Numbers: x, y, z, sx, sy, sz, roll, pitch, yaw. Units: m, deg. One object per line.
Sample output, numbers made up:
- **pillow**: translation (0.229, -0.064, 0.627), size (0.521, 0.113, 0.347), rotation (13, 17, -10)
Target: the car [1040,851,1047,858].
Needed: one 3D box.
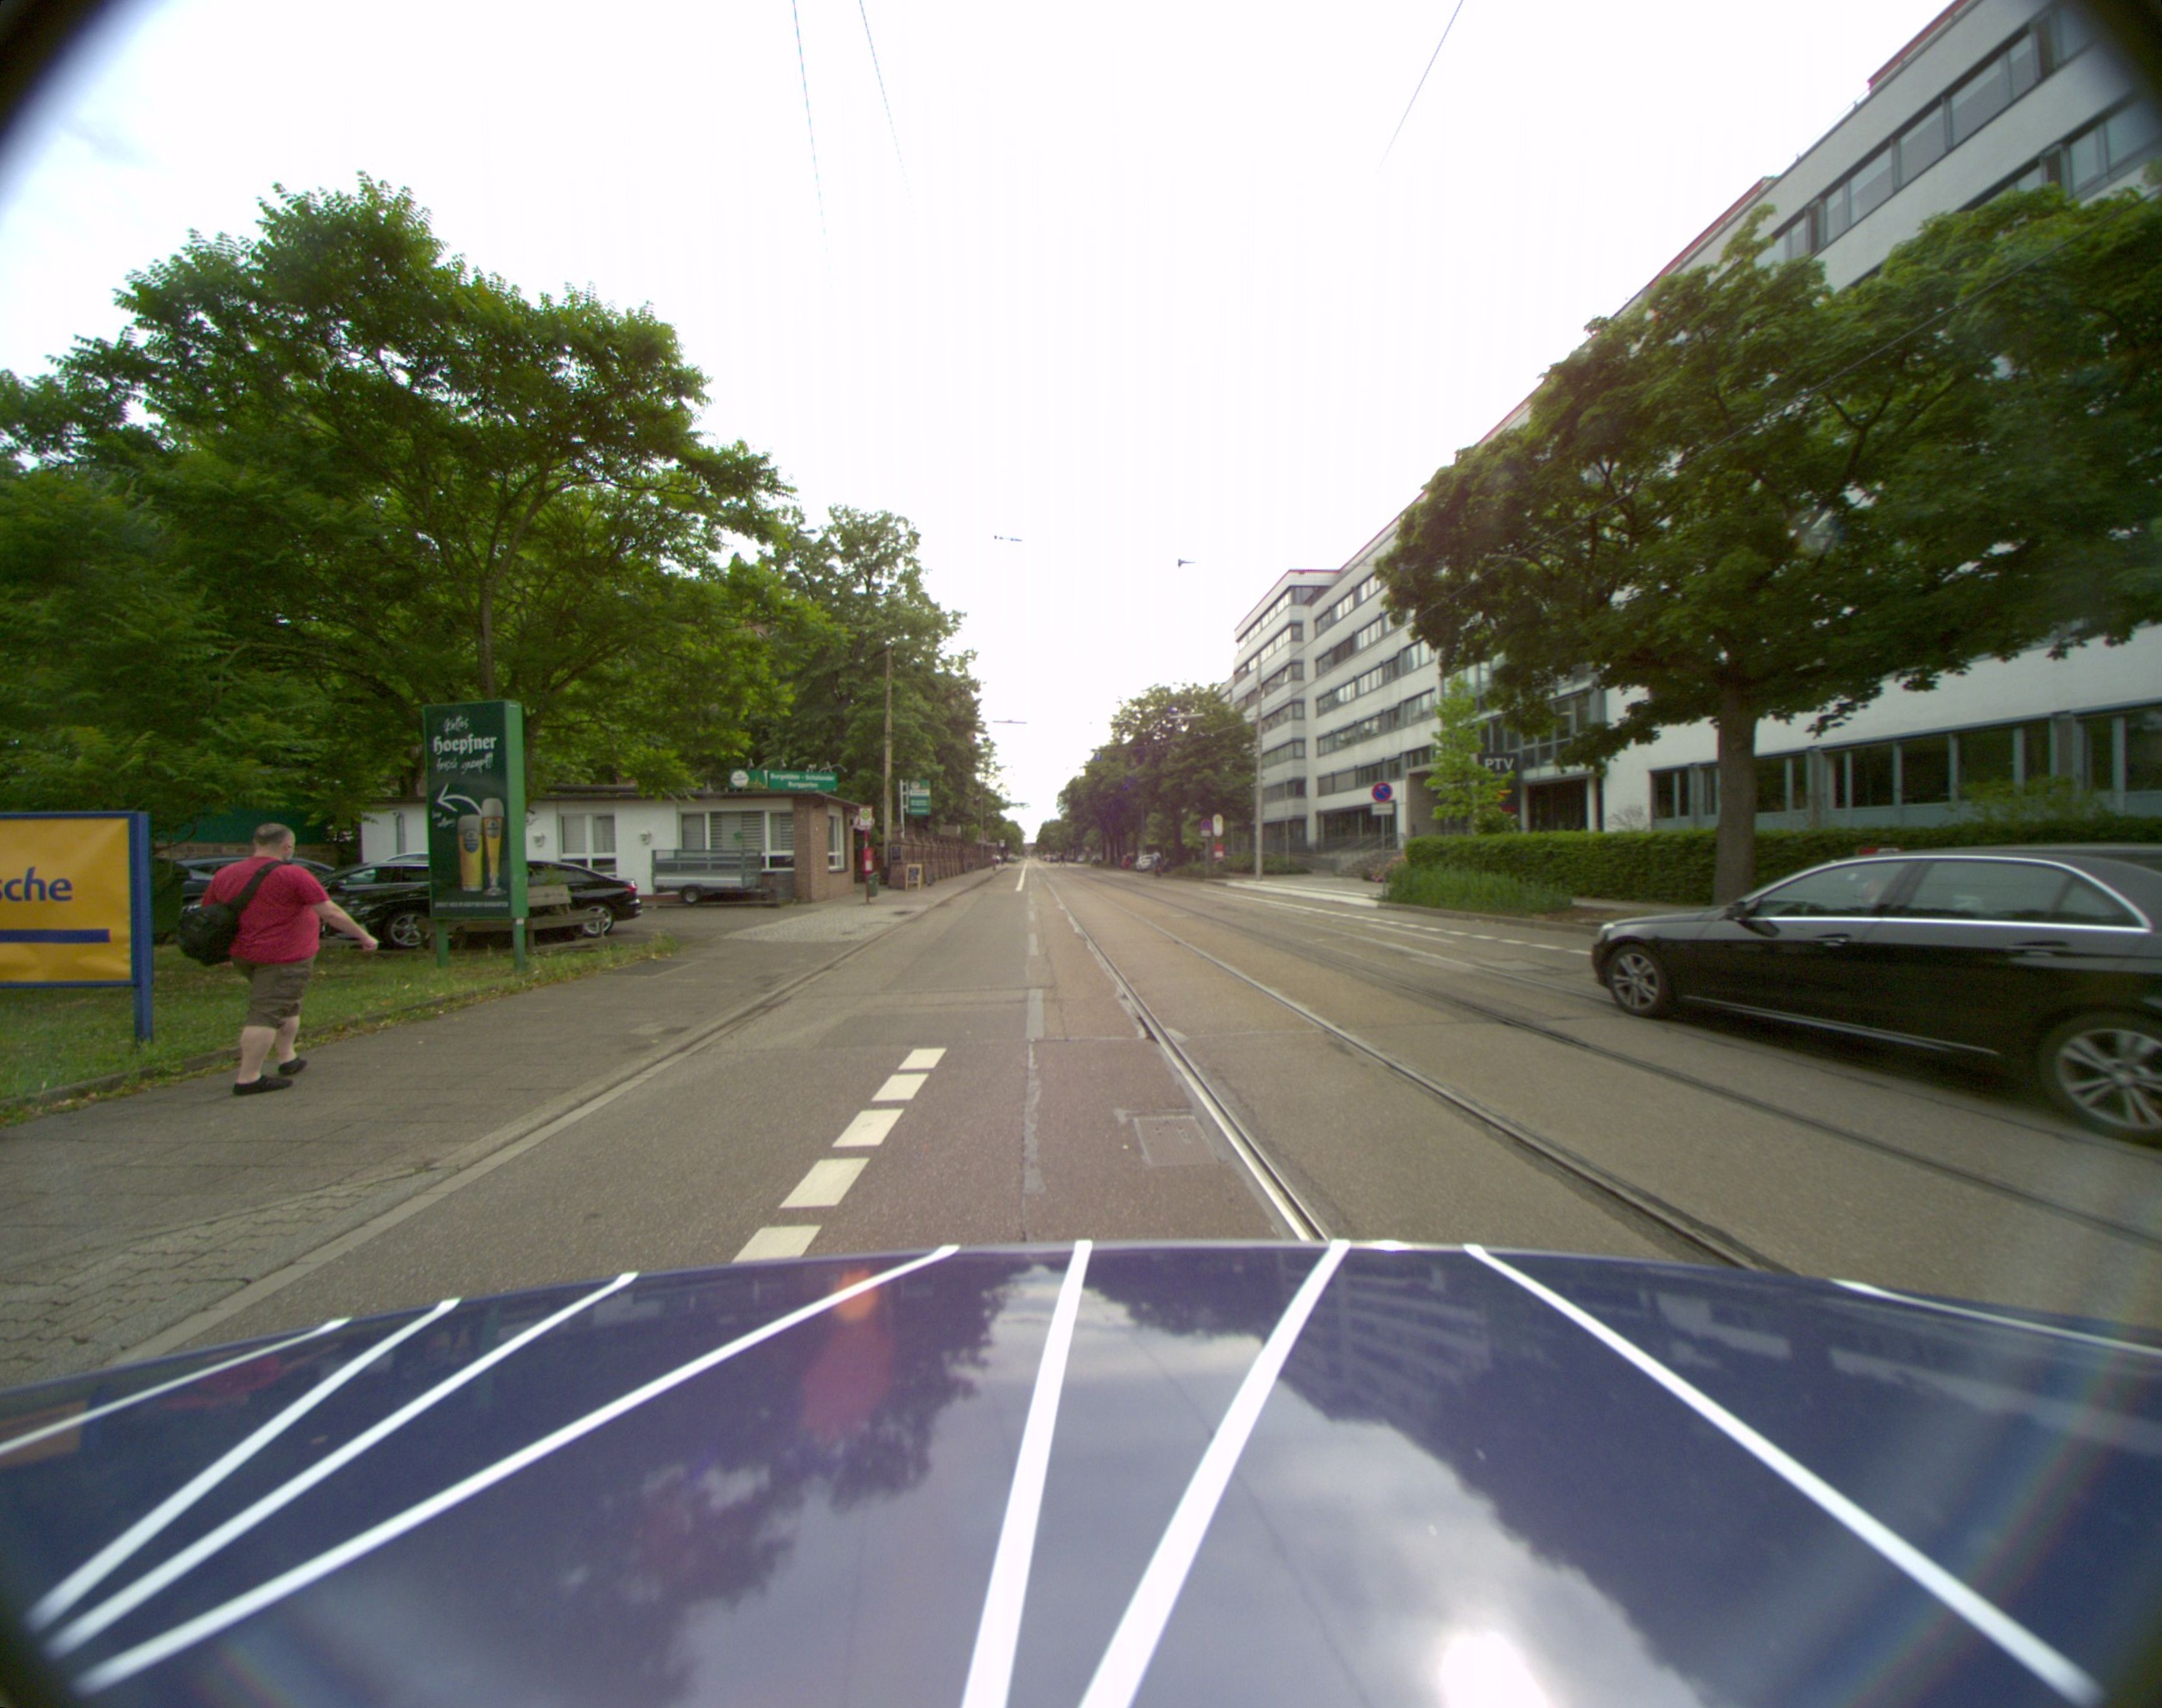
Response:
- **car**: translation (-12.346, 0.099, 248.459), size (1.998, 2.002, 3.999), rotation (-2, 1, 0)

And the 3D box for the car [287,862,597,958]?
- **car**: translation (-10.848, 0.857, 13.384), size (1.998, 1.281, 3.999), rotation (-2, 1, 1)

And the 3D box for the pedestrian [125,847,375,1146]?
- **pedestrian**: translation (-5.377, 0.839, 5.002), size (0.871, 1.738, 0.849), rotation (1, 1, -29)

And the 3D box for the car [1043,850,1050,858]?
- **car**: translation (-9.542, -0.004, 210.839), size (1.999, 2.002, 3.999), rotation (-2, 1, -2)

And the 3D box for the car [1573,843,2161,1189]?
- **car**: translation (5.697, 0.729, 4.906), size (1.802, 1.537, 4.477), rotation (-2, 1, -6)

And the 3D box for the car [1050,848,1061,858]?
- **car**: translation (-5.320, -0.281, 157.505), size (1.998, 2.002, 3.999), rotation (-2, 1, 1)

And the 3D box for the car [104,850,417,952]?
- **car**: translation (-16.541, 0.840, 15.546), size (1.807, 1.686, 4.033), rotation (-2, 1, 33)

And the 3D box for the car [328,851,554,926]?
- **car**: translation (-16.360, 0.842, 19.634), size (3.998, 1.657, 1.999), rotation (-2, 1, -3)

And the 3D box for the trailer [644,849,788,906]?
- **trailer**: translation (-10.489, 0.643, 22.014), size (3.291, 1.523, 1.773), rotation (0, 3, -3)

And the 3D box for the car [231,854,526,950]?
- **car**: translation (-13.813, 0.849, 15.163), size (1.822, 1.509, 4.007), rotation (-1, 1, 37)
